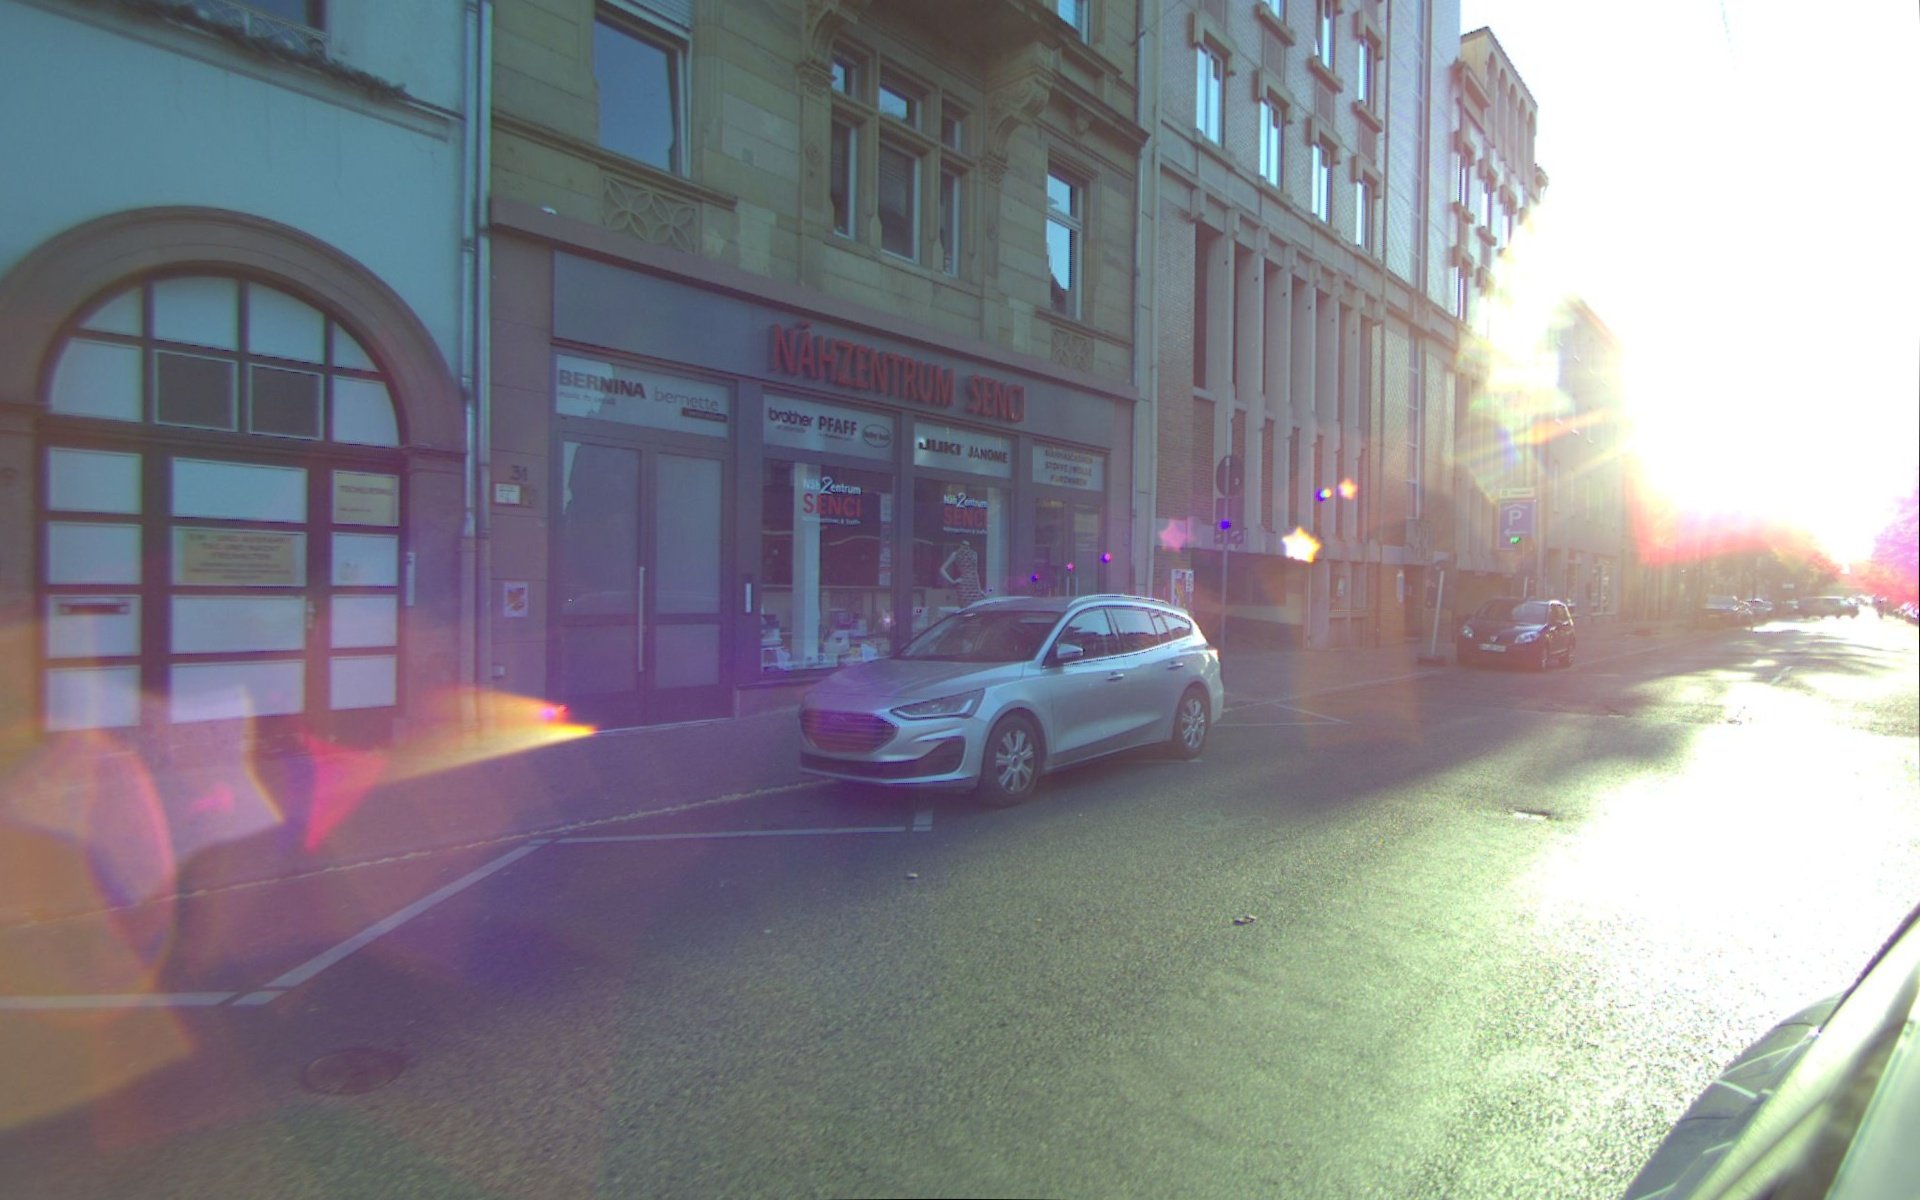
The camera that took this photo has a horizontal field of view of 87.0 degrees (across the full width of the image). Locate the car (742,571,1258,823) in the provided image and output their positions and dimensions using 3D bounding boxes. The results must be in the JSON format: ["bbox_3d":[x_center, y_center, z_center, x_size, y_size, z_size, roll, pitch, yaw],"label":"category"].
[{"bbox_3d":[0.625,0.628,8.675,1.992,1.554,4.612,1,-1,41],"label":"car"}]

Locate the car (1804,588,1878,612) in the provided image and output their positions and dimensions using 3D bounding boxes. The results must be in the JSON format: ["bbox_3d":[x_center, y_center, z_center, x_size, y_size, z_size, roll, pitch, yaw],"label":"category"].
[{"bbox_3d":[79.979,-0.025,91.999,1.958,2.039,4.859,1,1,-11],"label":"car"}]

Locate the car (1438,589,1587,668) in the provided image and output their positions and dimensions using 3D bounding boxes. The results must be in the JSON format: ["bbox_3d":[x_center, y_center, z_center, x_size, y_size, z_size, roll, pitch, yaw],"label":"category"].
[{"bbox_3d":[12.271,0.571,22.372,1.993,1.539,3.938,2,1,43],"label":"car"}]

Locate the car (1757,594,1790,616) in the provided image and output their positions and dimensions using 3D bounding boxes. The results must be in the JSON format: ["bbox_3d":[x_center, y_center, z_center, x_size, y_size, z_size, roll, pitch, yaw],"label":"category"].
[{"bbox_3d":[59.905,0.360,74.515,1.750,1.571,4.223,1,1,41],"label":"car"}]

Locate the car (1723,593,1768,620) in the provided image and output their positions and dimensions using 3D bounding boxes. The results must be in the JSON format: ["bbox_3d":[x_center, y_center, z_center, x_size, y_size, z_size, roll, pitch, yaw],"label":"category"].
[{"bbox_3d":[48.507,0.363,62.477,1.992,1.571,3.941,1,1,41],"label":"car"}]

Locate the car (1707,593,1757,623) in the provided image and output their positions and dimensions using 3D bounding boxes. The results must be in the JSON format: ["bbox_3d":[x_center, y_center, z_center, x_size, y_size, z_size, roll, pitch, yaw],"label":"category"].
[{"bbox_3d":[43.357,0.405,56.810,1.992,1.571,3.941,1,1,41],"label":"car"}]
